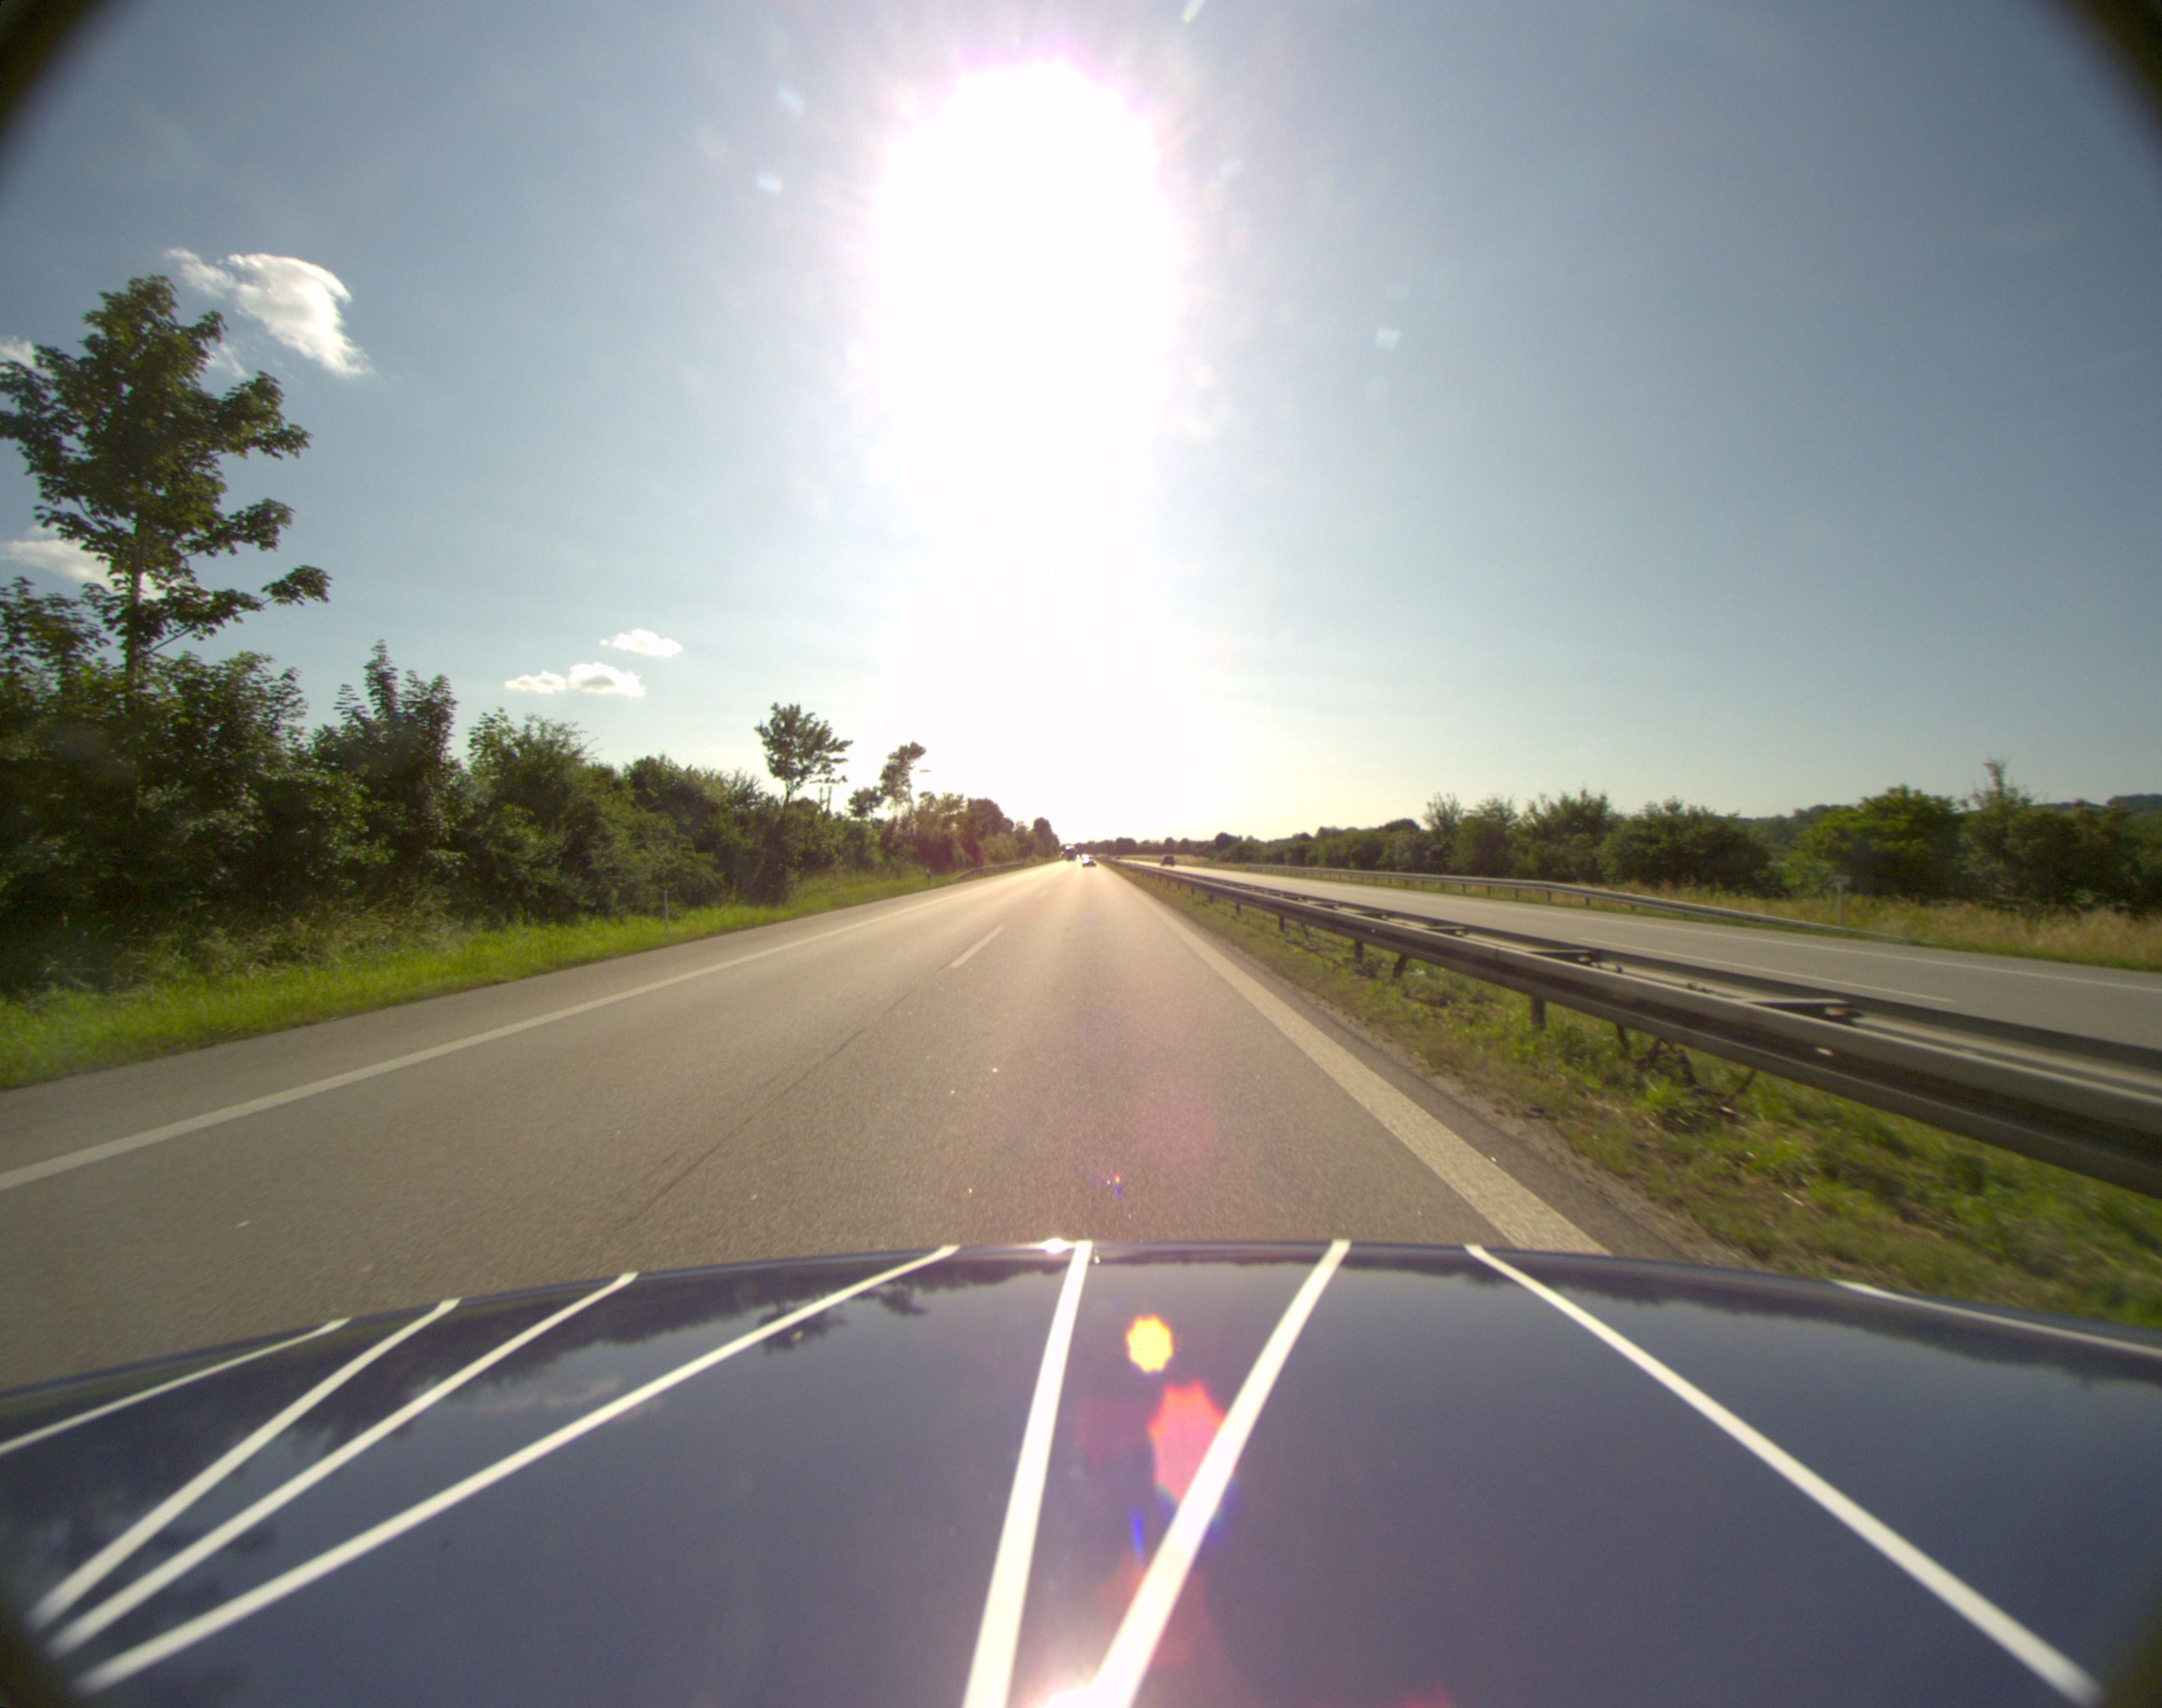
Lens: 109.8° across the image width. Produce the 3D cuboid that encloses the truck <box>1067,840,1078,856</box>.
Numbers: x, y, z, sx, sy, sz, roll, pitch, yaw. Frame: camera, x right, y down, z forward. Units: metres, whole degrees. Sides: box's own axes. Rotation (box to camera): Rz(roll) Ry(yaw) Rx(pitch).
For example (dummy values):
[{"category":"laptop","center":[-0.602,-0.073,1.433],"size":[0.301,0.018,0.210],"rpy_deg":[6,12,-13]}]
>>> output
[{"category":"truck","center":[-2.202,-1.619,203.106],"size":[2.759,4.242,8.492],"rpy_deg":[-2,1,0]}]

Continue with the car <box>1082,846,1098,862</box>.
[{"category":"car","center":[1.190,-0.017,98.434],"size":[1.998,2.002,4.358],"rpy_deg":[-2,1,1]}]

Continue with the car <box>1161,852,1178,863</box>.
[{"category":"car","center":[12.427,0.460,107.087],"size":[1.834,1.562,4.655],"rpy_deg":[1,1,0]}]
